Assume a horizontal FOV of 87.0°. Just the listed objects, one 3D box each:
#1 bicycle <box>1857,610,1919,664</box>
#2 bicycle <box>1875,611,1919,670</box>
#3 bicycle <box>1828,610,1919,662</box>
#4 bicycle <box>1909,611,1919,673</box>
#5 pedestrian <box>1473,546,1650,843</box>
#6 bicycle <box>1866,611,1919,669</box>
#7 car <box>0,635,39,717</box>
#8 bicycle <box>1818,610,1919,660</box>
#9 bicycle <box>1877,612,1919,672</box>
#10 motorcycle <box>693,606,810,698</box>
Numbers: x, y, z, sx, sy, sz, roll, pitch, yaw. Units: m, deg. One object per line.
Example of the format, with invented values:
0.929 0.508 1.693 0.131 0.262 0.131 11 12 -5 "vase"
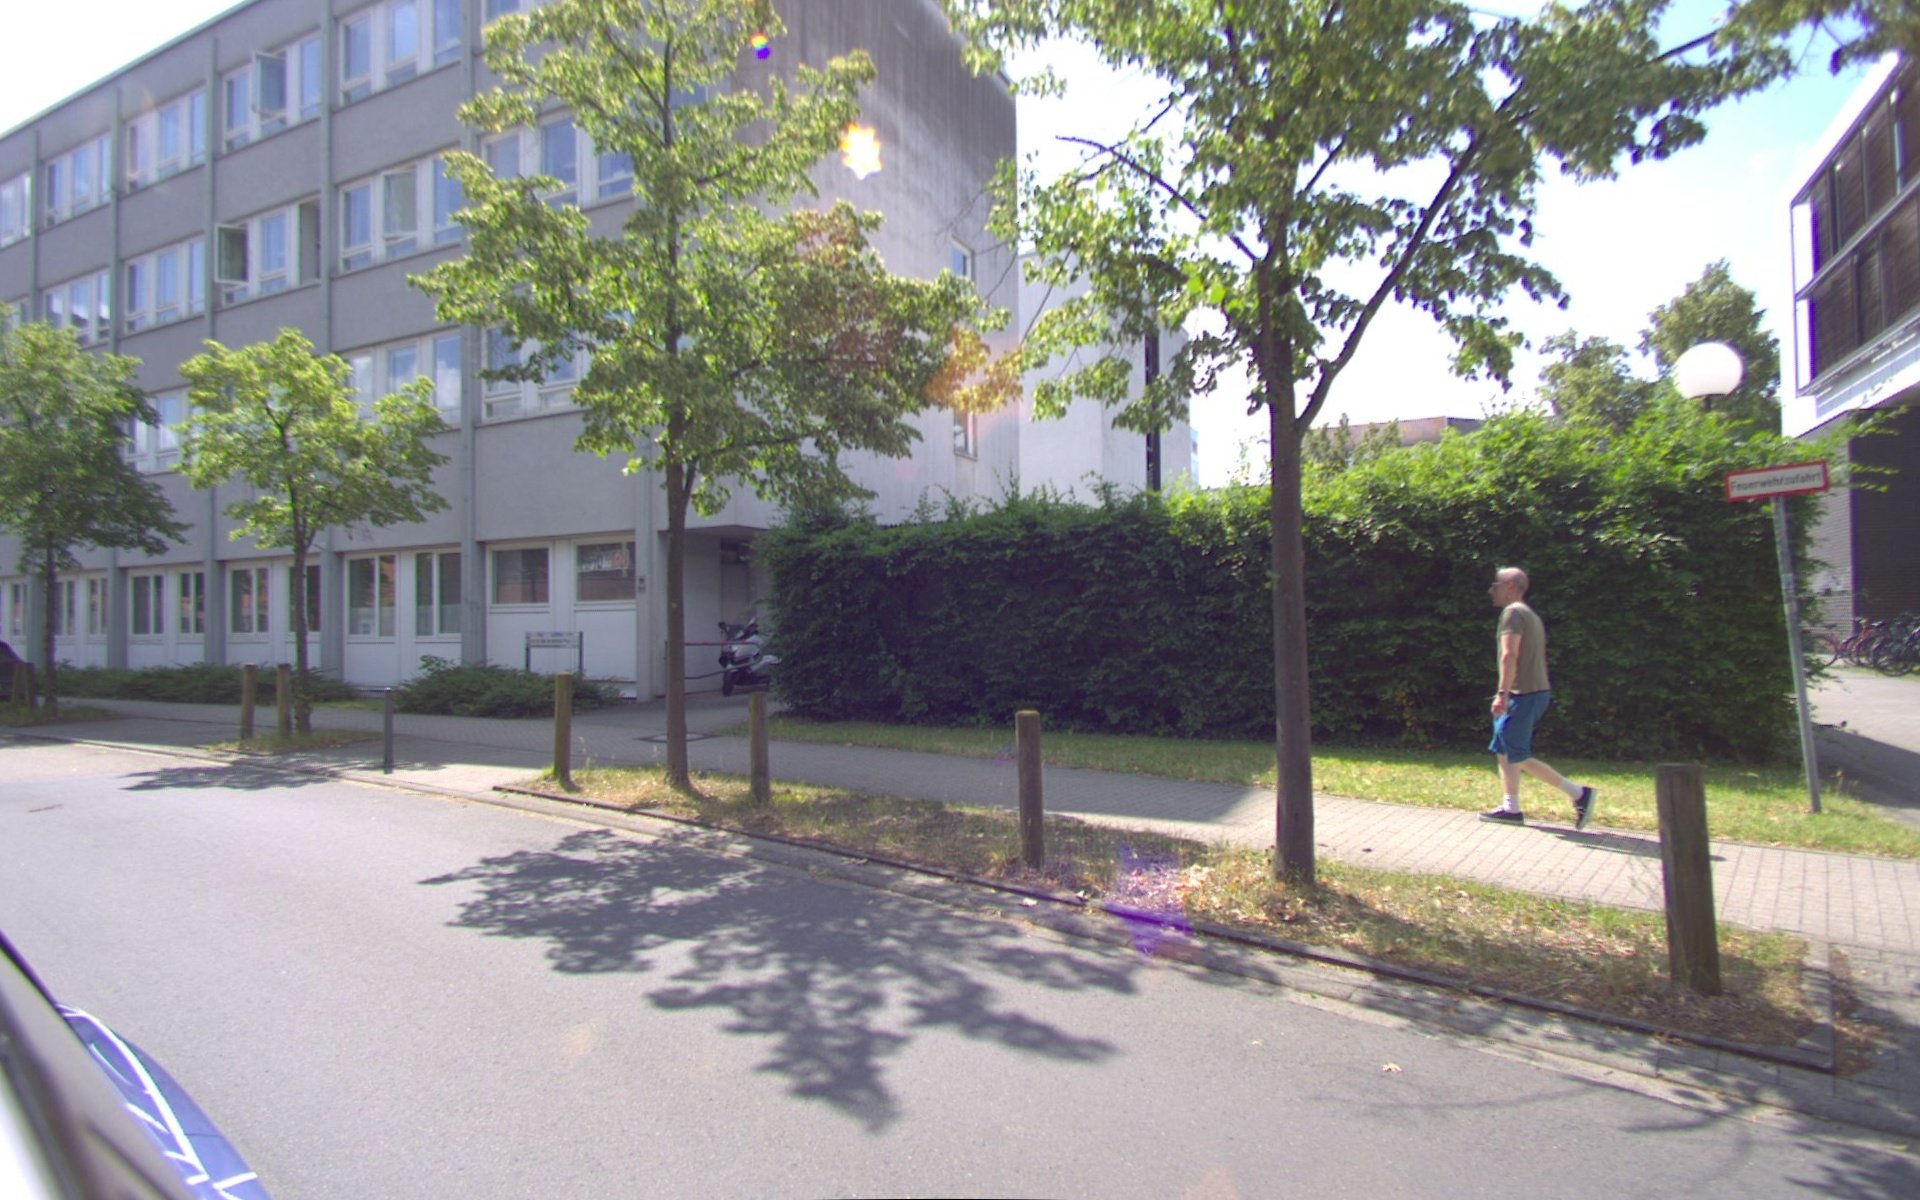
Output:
20.289 0.772 21.255 2.038 1.131 0.577 -2 -2 25 "bicycle"
19.112 0.766 19.522 2.038 1.131 0.577 -2 -2 25 "bicycle"
20.774 0.803 22.562 2.038 1.131 0.577 -2 -2 25 "bicycle"
18.698 0.756 18.351 2.038 1.131 0.577 -2 -2 25 "bicycle"
3.909 0.578 6.579 0.909 1.778 0.579 -2 -2 35 "pedestrian"
19.452 0.786 20.100 2.038 1.131 0.577 -2 -2 25 "bicycle"
-19.651 1.467 19.193 4.235 1.472 1.768 -2 0 26 "car"
21.053 0.804 23.148 2.038 1.131 0.577 -2 -2 25 "bicycle"
18.704 0.781 19.029 2.038 1.131 0.577 -2 -2 25 "bicycle"
-3.741 0.916 18.376 1.075 1.562 2.085 -2 -1 24 "motorcycle"
